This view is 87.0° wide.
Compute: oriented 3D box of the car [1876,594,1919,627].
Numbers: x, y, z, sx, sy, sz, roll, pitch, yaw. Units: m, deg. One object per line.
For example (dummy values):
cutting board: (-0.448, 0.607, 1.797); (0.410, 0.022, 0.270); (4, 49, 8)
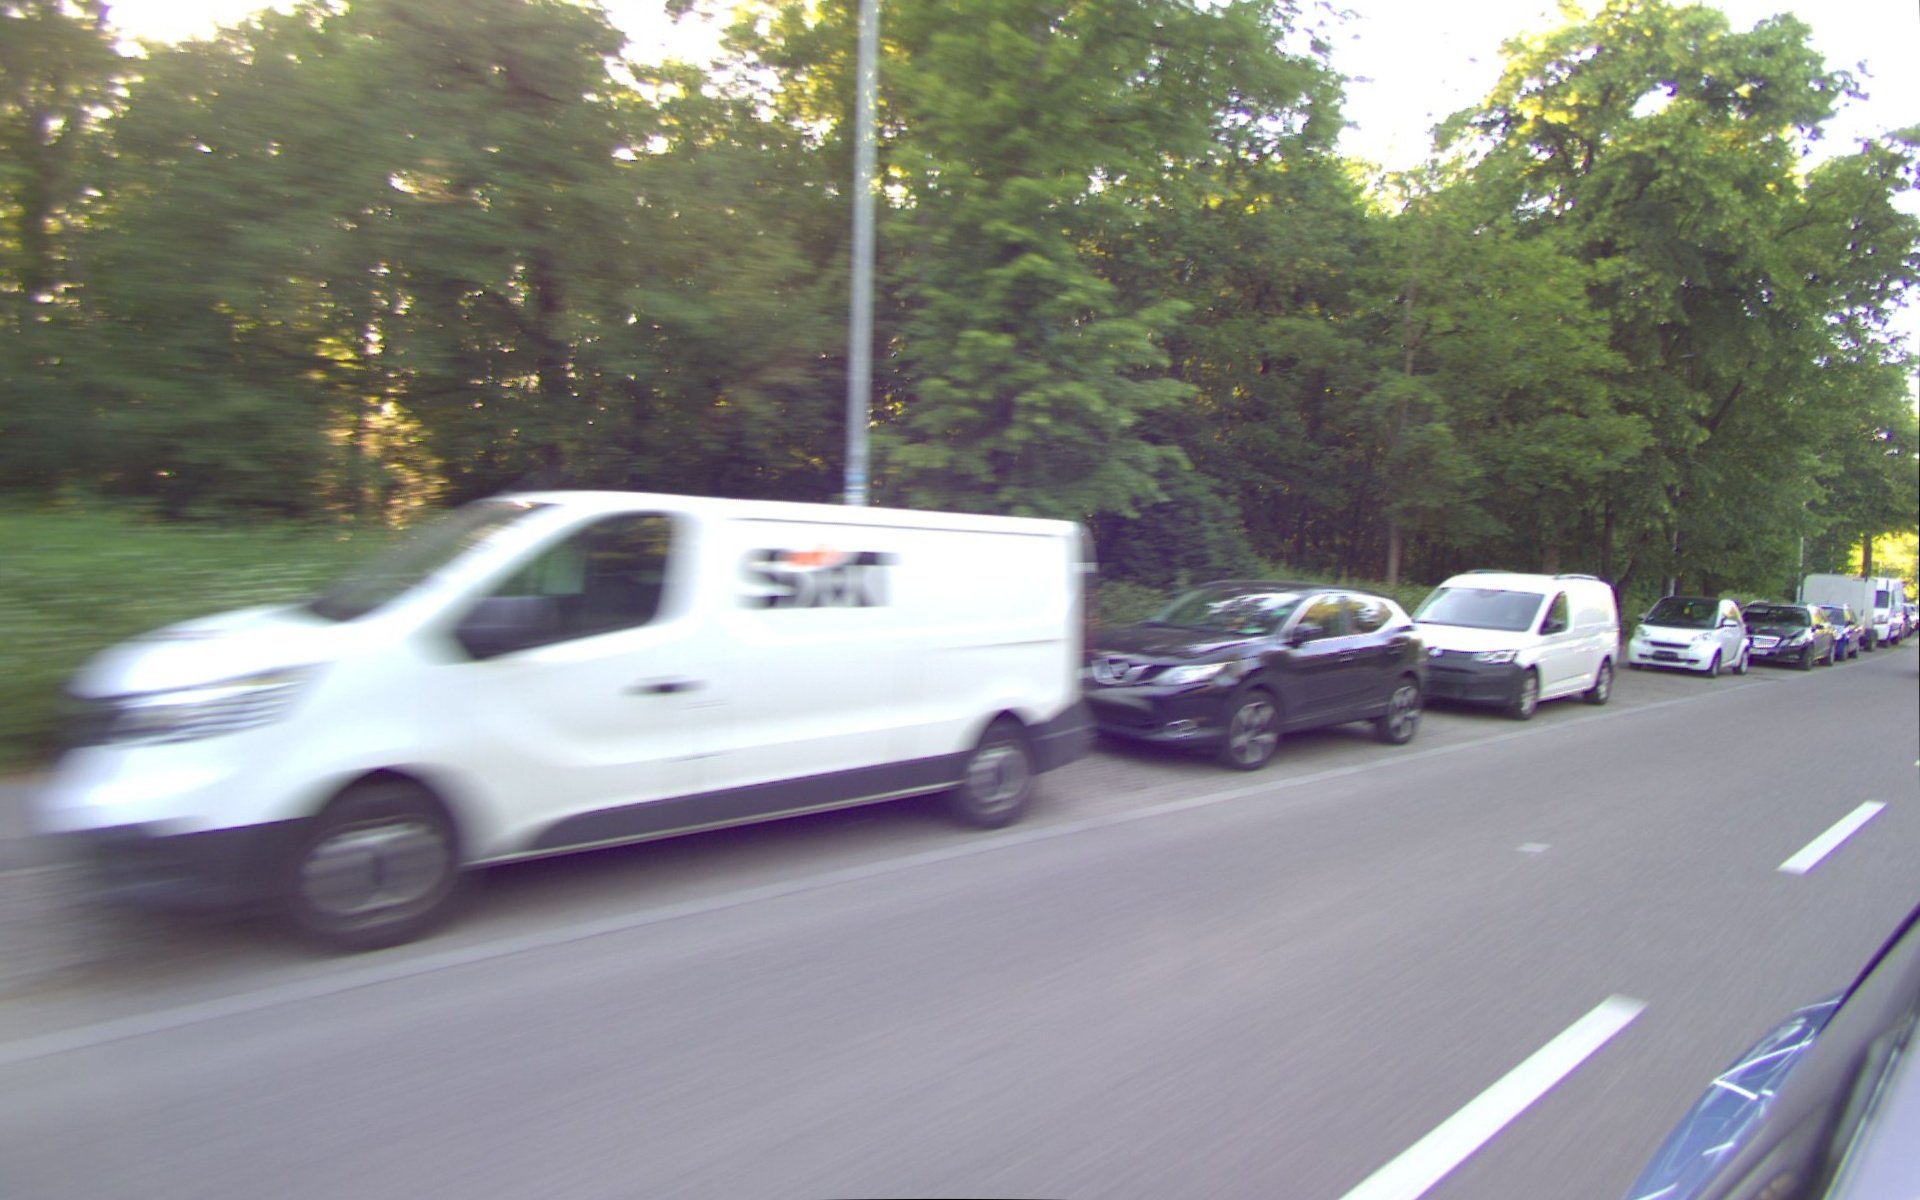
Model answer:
car: (45.951, 0.488, 49.304); (3.628, 1.482, 1.679); (-1, 4, -44)

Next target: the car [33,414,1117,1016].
car: (-1.617, 0.317, 5.817); (5.378, 2.005, 1.873); (0, 3, -40)

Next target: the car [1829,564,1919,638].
car: (33.610, -0.018, 37.134); (5.481, 2.453, 1.907); (-1, 3, -43)

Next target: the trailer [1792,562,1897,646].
trailer: (28.632, 0.073, 32.698); (5.039, 2.453, 1.907); (-1, 3, -43)

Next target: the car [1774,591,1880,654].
car: (24.345, 0.571, 28.364); (4.279, 1.554, 1.681); (-1, 3, -42)

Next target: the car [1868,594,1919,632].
car: (41.803, 0.536, 45.052); (3.999, 1.482, 1.680); (-1, 4, -44)

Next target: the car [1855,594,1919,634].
car: (37.990, 0.525, 41.359); (4.573, 1.417, 1.680); (-1, 4, -44)

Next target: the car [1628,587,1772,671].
car: (15.156, 0.530, 20.697); (3.123, 1.513, 1.590); (0, 3, -39)

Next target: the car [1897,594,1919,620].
car: (57.206, 0.430, 60.479); (1.718, 1.429, 4.419); (4, 4, 42)

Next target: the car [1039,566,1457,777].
car: (2.953, 0.515, 9.878); (4.350, 1.566, 1.763); (0, 3, -40)

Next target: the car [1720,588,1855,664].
car: (20.018, 0.543, 24.405); (4.903, 1.554, 1.762); (-1, 3, -42)

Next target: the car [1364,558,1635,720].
car: (7.567, 0.407, 13.966); (4.656, 1.826, 1.762); (-1, 3, -42)
